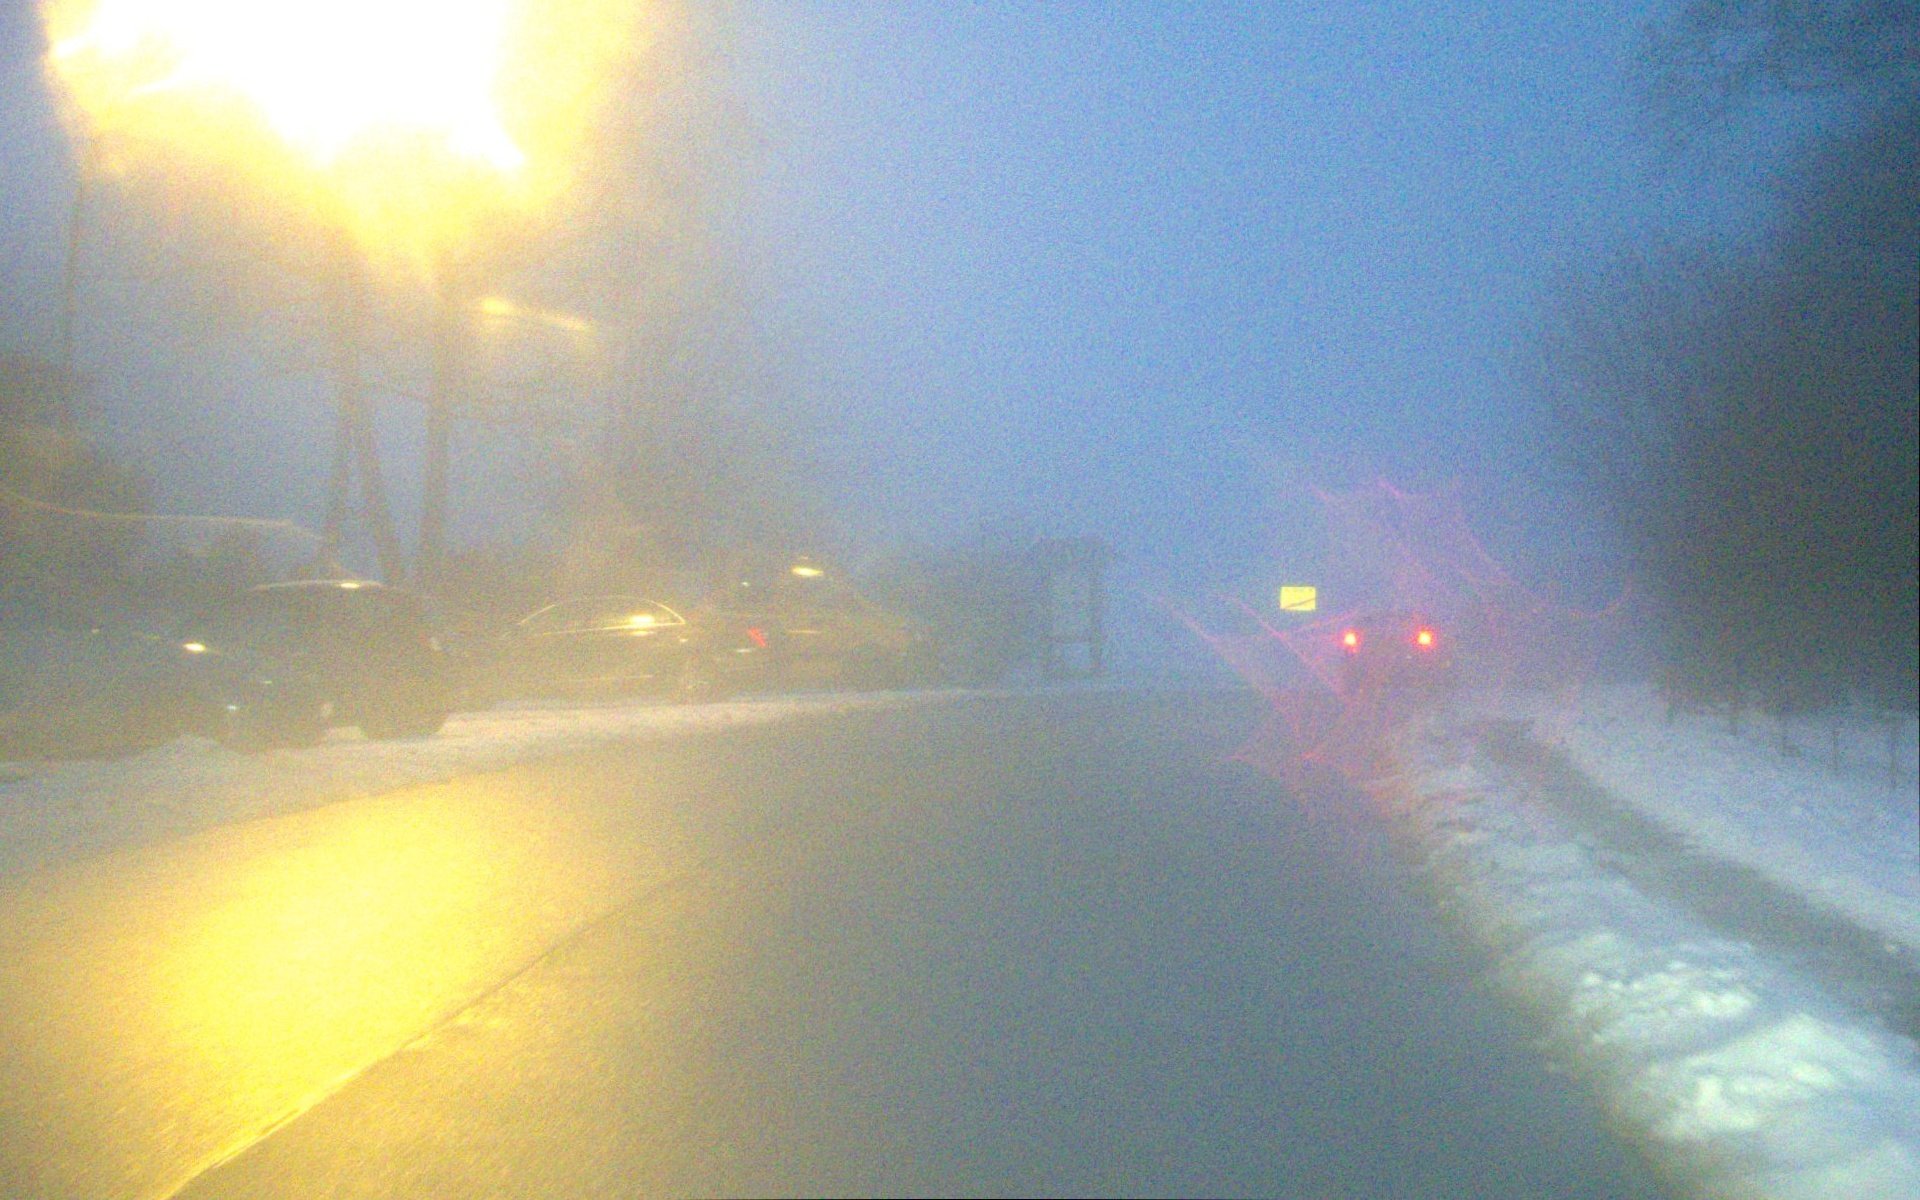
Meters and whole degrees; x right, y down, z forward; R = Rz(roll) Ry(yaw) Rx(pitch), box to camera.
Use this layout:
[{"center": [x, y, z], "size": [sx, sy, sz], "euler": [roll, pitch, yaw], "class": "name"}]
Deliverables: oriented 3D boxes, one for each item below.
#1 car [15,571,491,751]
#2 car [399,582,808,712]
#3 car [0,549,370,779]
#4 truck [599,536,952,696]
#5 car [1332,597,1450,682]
[{"center": [-6.347, 0.537, 31.165], "size": [3.854, 1.466, 1.939], "euler": [-2, 0, 1], "class": "car"}, {"center": [-4.554, 0.601, 44.394], "size": [4.888, 1.480, 2.123], "euler": [-2, 0, 5], "class": "car"}, {"center": [-6.776, 0.483, 25.356], "size": [4.527, 1.561, 2.111], "euler": [-2, 0, -3], "class": "car"}, {"center": [-2.868, 0.256, 54.066], "size": [5.262, 2.295, 2.000], "euler": [-2, 0, 4], "class": "truck"}, {"center": [7.616, 0.726, 60.983], "size": [1.994, 1.415, 3.998], "euler": [1, -2, 7], "class": "car"}]
